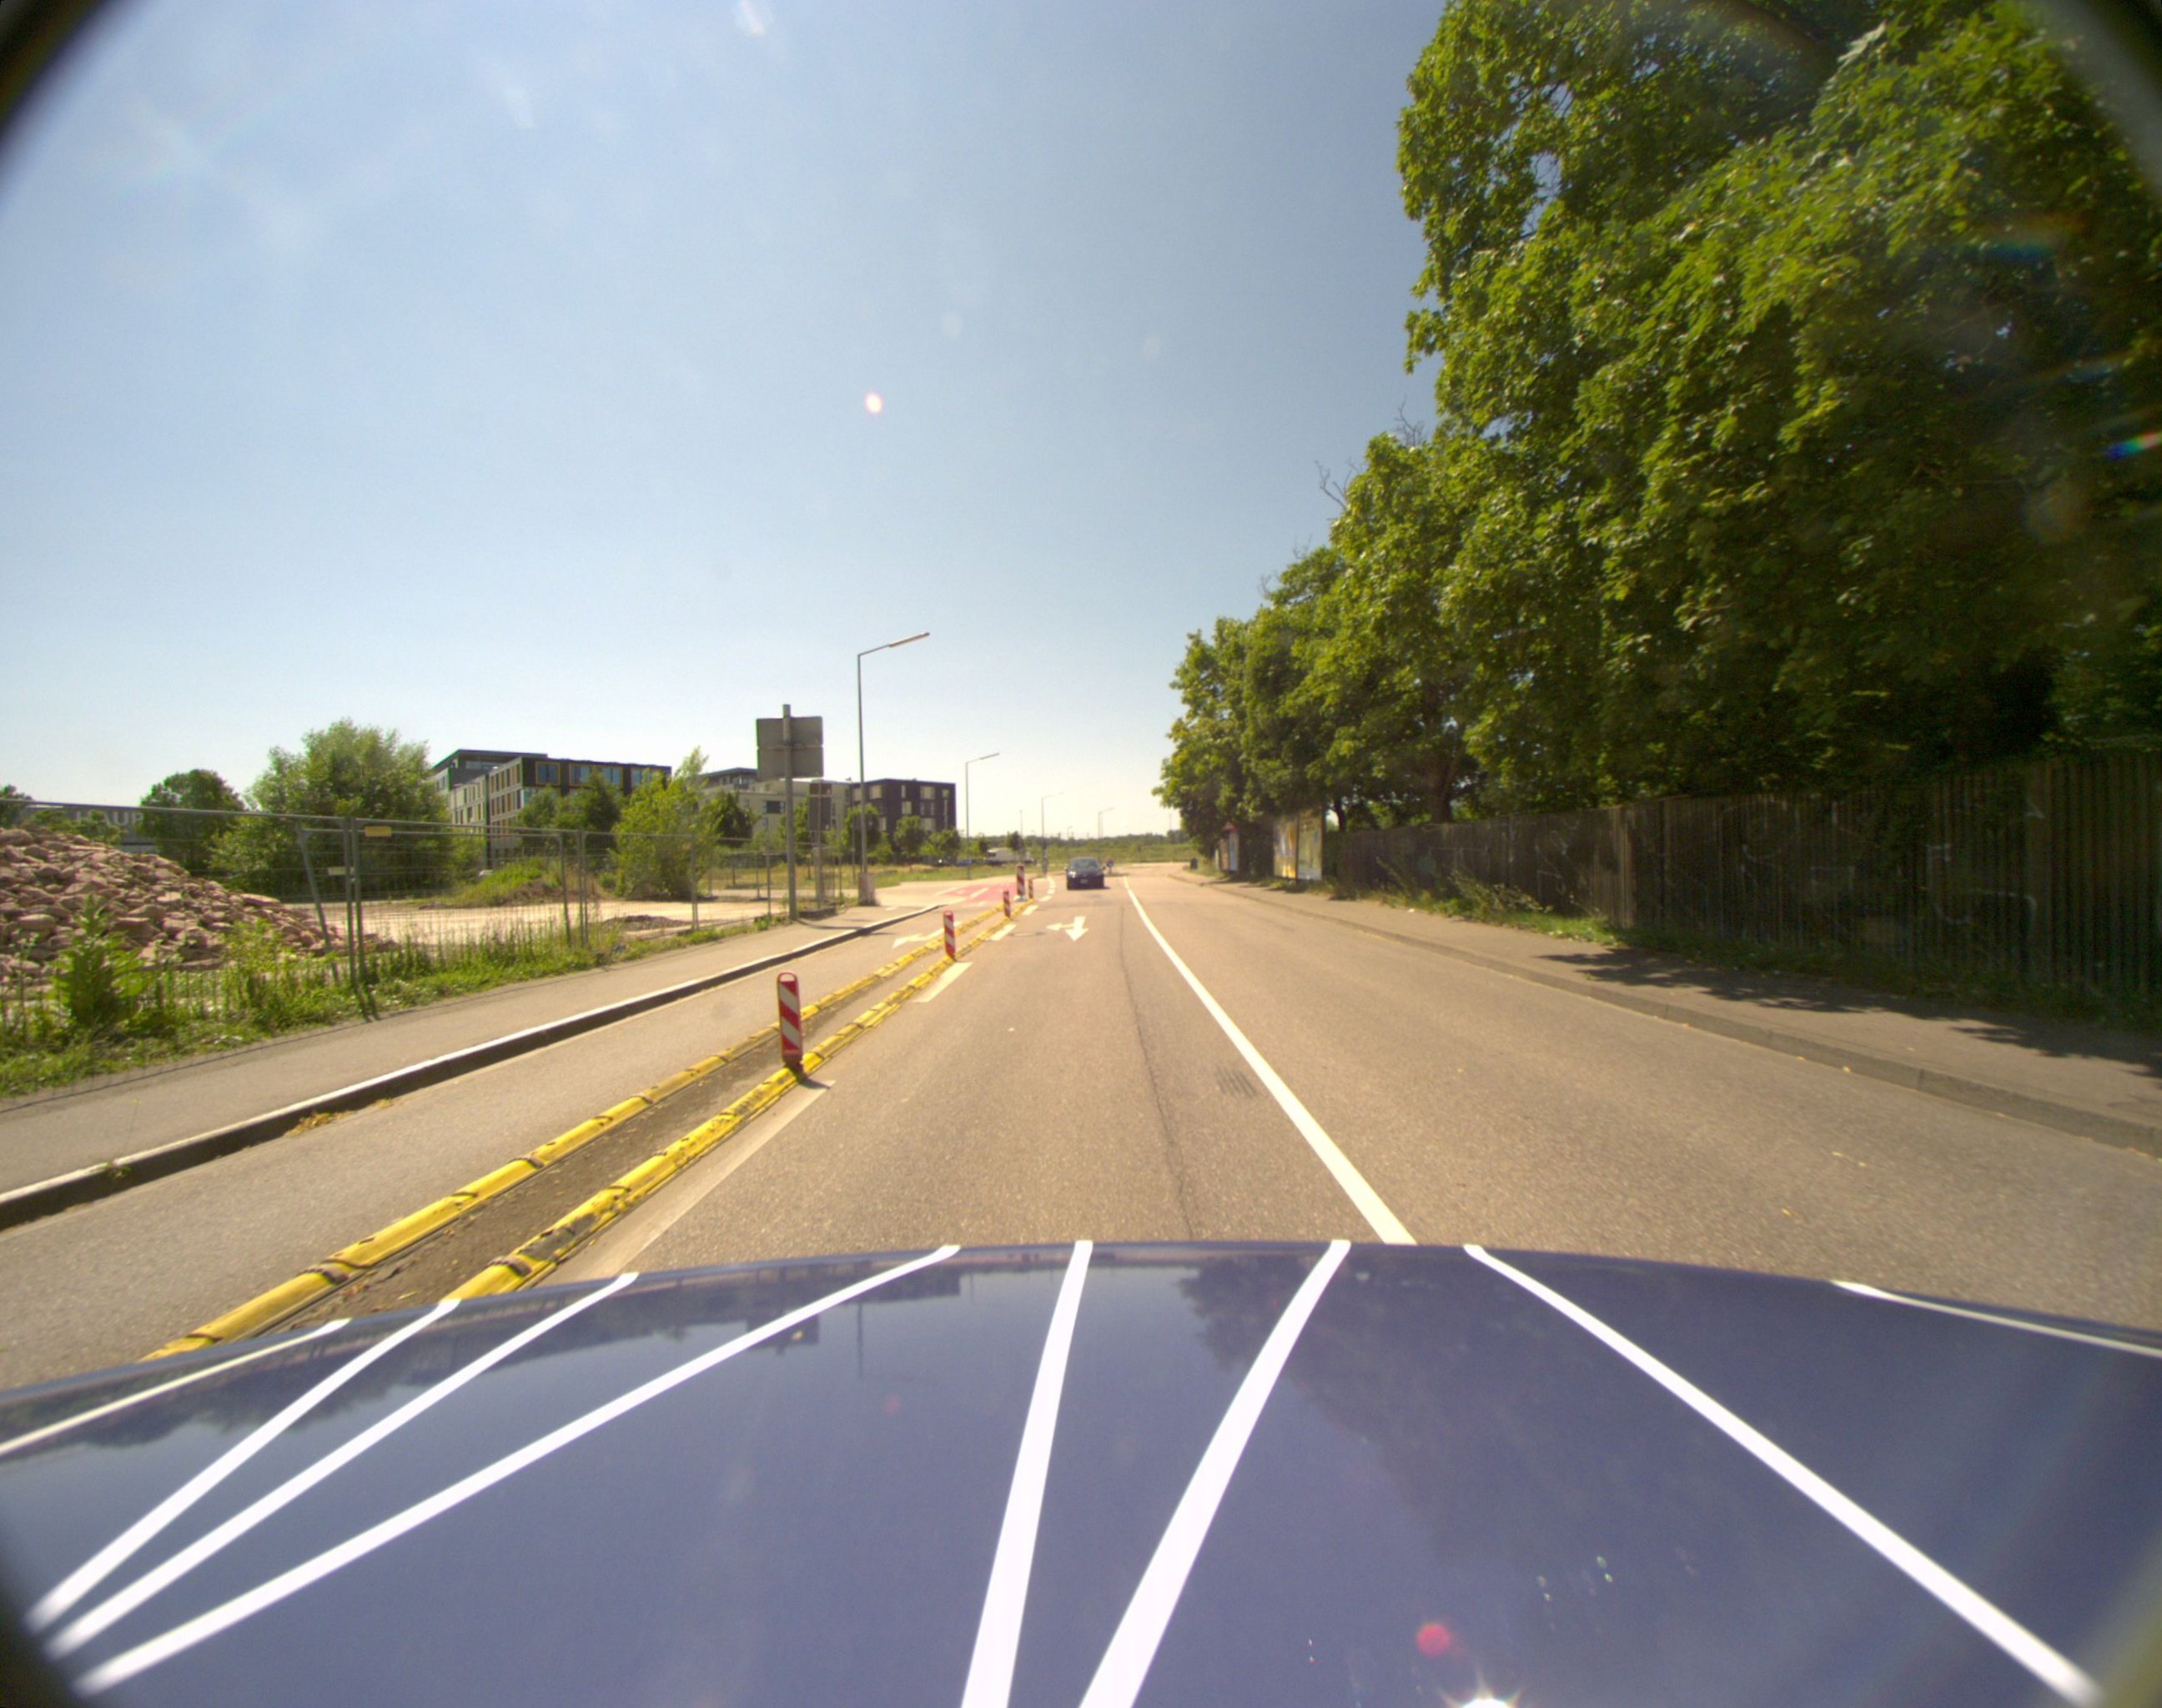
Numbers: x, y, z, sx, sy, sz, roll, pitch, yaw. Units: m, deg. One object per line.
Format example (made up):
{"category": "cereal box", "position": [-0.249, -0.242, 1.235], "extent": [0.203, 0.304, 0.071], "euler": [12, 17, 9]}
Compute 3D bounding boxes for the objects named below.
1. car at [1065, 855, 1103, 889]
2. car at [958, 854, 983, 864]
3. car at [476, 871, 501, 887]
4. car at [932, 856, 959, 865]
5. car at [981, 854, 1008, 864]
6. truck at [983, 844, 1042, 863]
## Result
{"category": "car", "position": [0.171, 0.785, 35.408], "extent": [1.654, 1.458, 4.160], "euler": [-1, 0, 1]}
{"category": "car", "position": [-18.287, 0.862, 125.537], "extent": [4.060, 1.642, 1.958], "euler": [-1, 1, 43]}
{"category": "car", "position": [-74.865, 3.138, 96.048], "extent": [3.483, 1.917, 1.963], "euler": [-3, 0, 45]}
{"category": "car", "position": [-21.734, 1.026, 121.922], "extent": [4.115, 1.436, 1.966], "euler": [-1, 1, 38]}
{"category": "car", "position": [-14.698, 0.884, 128.561], "extent": [4.495, 1.553, 2.036], "euler": [-1, 0, 42]}
{"category": "truck", "position": [-13.070, -0.241, 146.609], "extent": [3.009, 3.442, 12.163], "euler": [2, 2, 45]}
